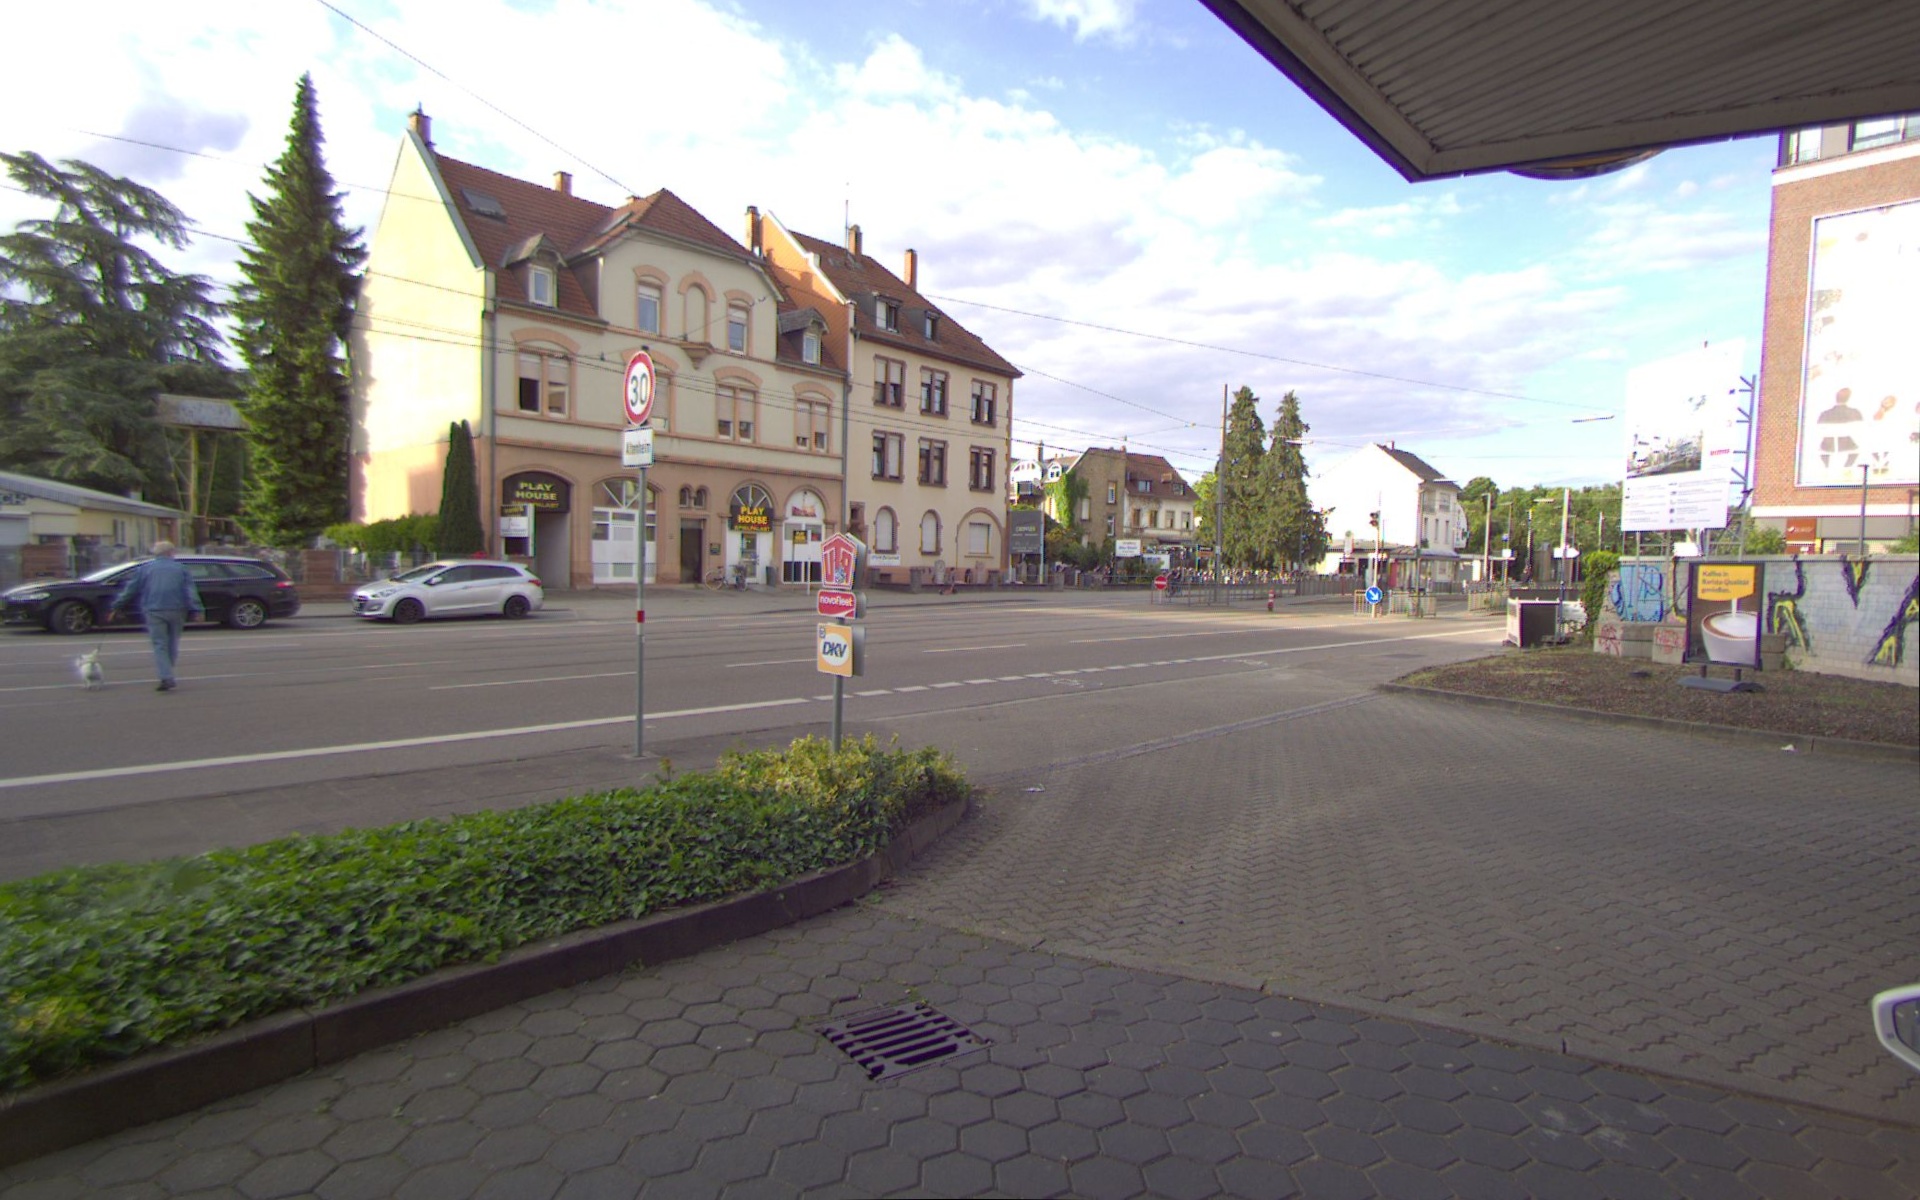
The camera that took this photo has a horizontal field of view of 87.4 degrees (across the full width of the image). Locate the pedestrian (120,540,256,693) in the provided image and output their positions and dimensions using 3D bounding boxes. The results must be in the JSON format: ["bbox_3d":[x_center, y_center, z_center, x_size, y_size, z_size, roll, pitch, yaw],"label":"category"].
[{"bbox_3d":[-9.186,0.161,11.973,0.954,1.690,1.001,4,4,31],"label":"pedestrian"}]

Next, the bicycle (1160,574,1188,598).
[{"bbox_3d":[11.637,-0.759,54.500,0.670,1.239,1.909,2,2,40],"label":"bicycle"}]

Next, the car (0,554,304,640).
[{"bbox_3d":[-16.596,-0.134,20.743,1.983,1.520,4.755,4,4,39],"label":"car"}]

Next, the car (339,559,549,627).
[{"bbox_3d":[-12.915,-0.228,25.365,1.699,1.503,4.434,4,4,40],"label":"car"}]

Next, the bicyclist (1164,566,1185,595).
[{"bbox_3d":[11.646,-1.066,54.491,0.670,1.555,1.080,2,2,41],"label":"bicyclist"}]

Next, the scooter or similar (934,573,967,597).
[{"bbox_3d":[-0.429,-0.653,45.118,0.461,1.041,1.655,4,3,40],"label":"scooter or similar"}]

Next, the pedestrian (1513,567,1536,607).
[{"bbox_3d":[29.288,-0.668,52.130,0.797,2.040,0.845,2,0,44],"label":"pedestrian"}]

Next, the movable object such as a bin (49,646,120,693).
[{"bbox_3d":[-10.030,0.790,11.508,0.669,0.426,0.479,5,4,37],"label":"movable object such as a bin"}]

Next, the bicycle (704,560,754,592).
[{"bbox_3d":[-9.100,-0.945,39.618,0.665,1.229,1.862,4,2,41],"label":"bicycle"}]
